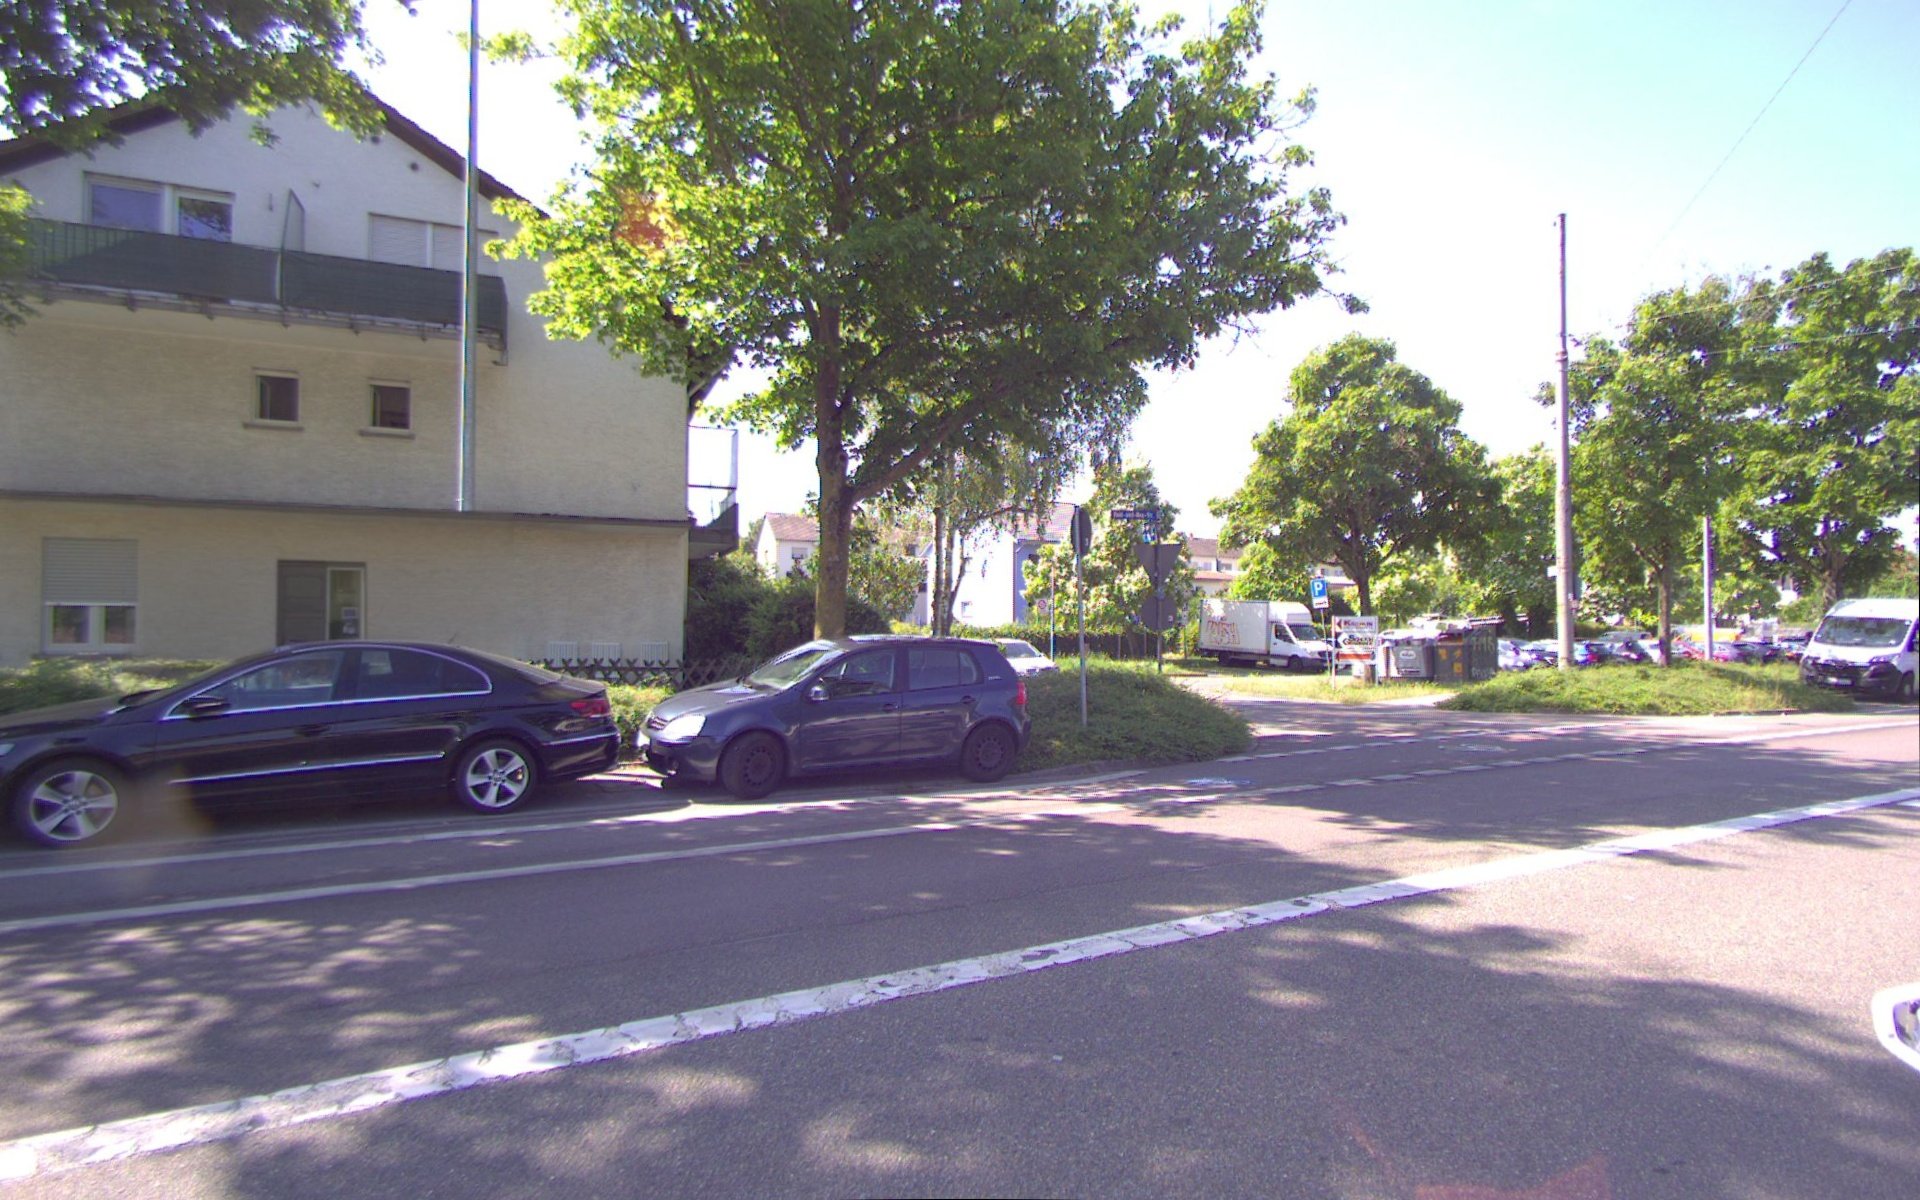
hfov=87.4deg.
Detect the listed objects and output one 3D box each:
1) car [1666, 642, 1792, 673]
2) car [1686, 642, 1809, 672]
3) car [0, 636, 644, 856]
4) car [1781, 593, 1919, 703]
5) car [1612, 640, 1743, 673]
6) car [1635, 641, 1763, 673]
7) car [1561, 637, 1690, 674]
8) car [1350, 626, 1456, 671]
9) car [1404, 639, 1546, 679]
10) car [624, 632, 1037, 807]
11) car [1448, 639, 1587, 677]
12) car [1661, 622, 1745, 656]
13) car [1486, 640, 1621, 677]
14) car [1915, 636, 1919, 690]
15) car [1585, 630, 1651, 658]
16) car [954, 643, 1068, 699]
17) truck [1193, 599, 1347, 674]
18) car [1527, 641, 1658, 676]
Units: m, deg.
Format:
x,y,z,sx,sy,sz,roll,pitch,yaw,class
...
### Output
x,y,z,sx,sy,sz,roll,pitch,yaw,class
33.316,2.451,43.631,1.748,1.241,3.973,1,-2,-27,car
35.194,2.520,44.977,1.748,1.241,3.973,1,-2,-27,car
-5.230,1.033,8.336,4.727,1.398,1.682,1,0,-31,car
23.983,1.173,25.894,6.227,2.534,2.050,1,1,-28,car
29.033,2.258,40.783,1.748,1.281,3.973,1,-2,-27,car
31.085,2.359,42.369,1.748,1.241,3.973,1,-2,-27,car
26.592,2.193,40.266,1.748,1.368,3.973,1,-2,-27,car
22.842,2.478,51.972,1.980,2.040,4.663,2,0,-34,car
17.377,1.946,34.056,1.751,1.241,3.967,1,-2,-31,car
-1.304,1.114,10.495,3.956,1.470,1.634,2,0,-29,car
19.495,1.998,35.290,1.751,1.241,3.967,1,-2,-31,car
50.639,2.646,68.515,1.981,2.040,4.228,2,0,-35,car
21.752,2.102,36.959,1.748,1.241,3.973,1,-2,-27,car
29.288,1.792,28.705,4.148,1.536,1.835,1,-2,-30,car
44.868,2.987,68.544,1.535,1.901,3.406,1,-2,-31,car
1.352,1.945,28.379,1.687,1.437,3.979,1,-2,-23,car
14.239,1.578,46.758,2.206,3.059,7.103,1,1,-31,truck
24.356,2.214,38.834,1.748,1.241,3.973,1,-2,-27,car
